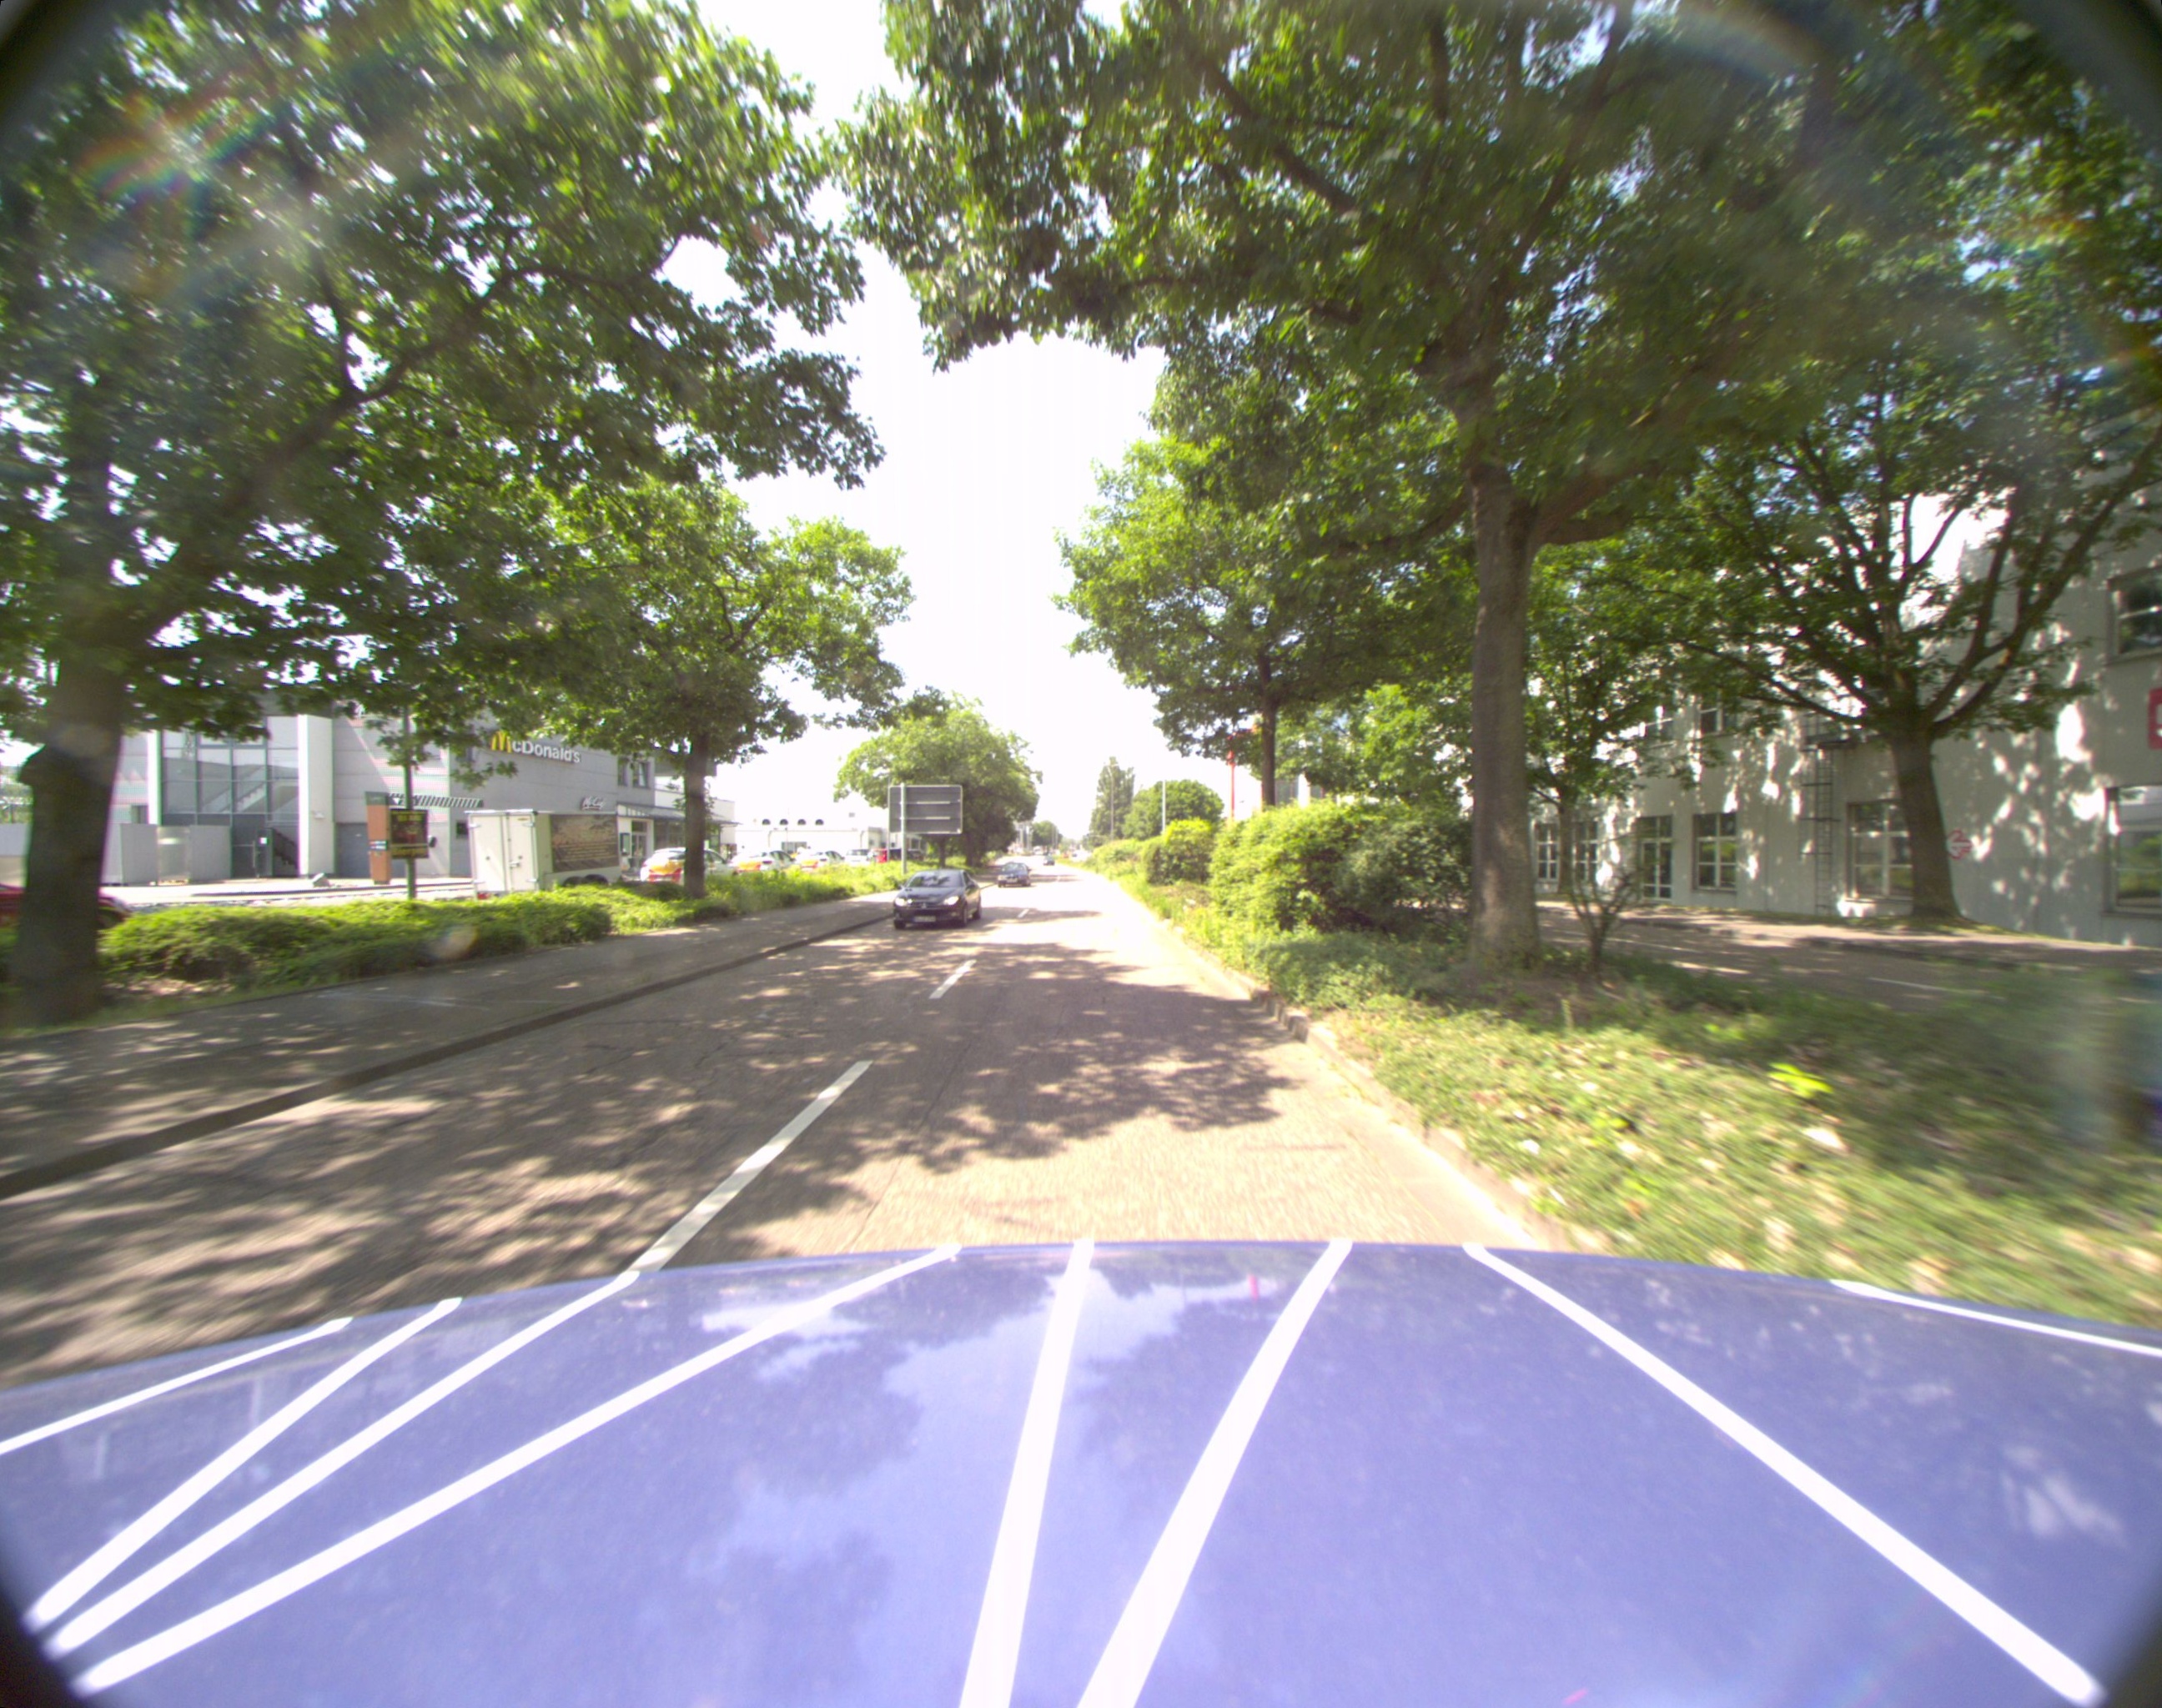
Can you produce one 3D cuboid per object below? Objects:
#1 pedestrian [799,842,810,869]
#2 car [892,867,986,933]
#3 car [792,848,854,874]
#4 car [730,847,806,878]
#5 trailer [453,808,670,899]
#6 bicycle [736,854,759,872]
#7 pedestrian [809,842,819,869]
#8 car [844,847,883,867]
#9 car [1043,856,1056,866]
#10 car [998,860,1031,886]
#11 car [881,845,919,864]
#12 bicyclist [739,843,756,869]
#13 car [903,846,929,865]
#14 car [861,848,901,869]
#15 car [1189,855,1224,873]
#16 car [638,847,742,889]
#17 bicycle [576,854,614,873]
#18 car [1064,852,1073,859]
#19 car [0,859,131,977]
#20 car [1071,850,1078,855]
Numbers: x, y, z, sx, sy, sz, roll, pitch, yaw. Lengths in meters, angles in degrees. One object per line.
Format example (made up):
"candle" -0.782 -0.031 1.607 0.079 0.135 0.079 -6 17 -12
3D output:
"pedestrian" -19.421 0.127 53.404 0.583 1.910 0.409 0 1 0
"car" -3.402 1.060 18.804 1.641 1.349 3.499 -1 1 0
"car" -13.282 0.336 39.353 1.622 1.246 3.867 -1 1 4
"car" -12.942 0.330 31.636 1.597 1.151 3.737 -1 1 0
"trailer" -13.263 -0.007 19.971 1.704 2.043 5.484 -1 0 3
"bicycle" -23.138 0.631 52.767 0.692 1.218 2.243 0 0 -1
"pedestrian" -18.755 0.089 53.409 0.467 1.910 0.534 0 1 0
"car" -12.880 0.180 45.146 1.511 1.116 2.855 -1 1 -1
"car" -4.729 0.972 112.139 1.868 1.390 3.998 1 0 -3
"car" -3.726 1.071 42.183 1.712 1.315 3.954 -2 -1 -7
"car" -12.914 0.026 54.519 1.623 1.246 4.198 -3 1 1
"bicyclist" -23.140 0.142 52.767 0.780 1.794 0.864 0 1 -2
"car" -13.308 0.100 61.382 1.912 1.443 5.595 -1 1 -11
"car" -12.921 0.246 49.304 1.623 1.246 3.762 -1 1 -1
"car" 10.489 0.792 63.869 2.132 1.442 5.240 0 0 0
"car" -12.948 0.426 25.399 1.623 1.246 3.629 -1 1 -1
"bicycle" -25.551 0.492 39.981 0.590 0.974 2.102 0 0 2
"car" -2.825 0.329 169.101 1.734 1.316 4.147 1 1 -4
"car" -13.541 0.765 7.970 1.705 1.372 4.323 -1 0 0
"car" -1.797 -0.464 216.093 1.727 1.408 4.244 2 0 -5
